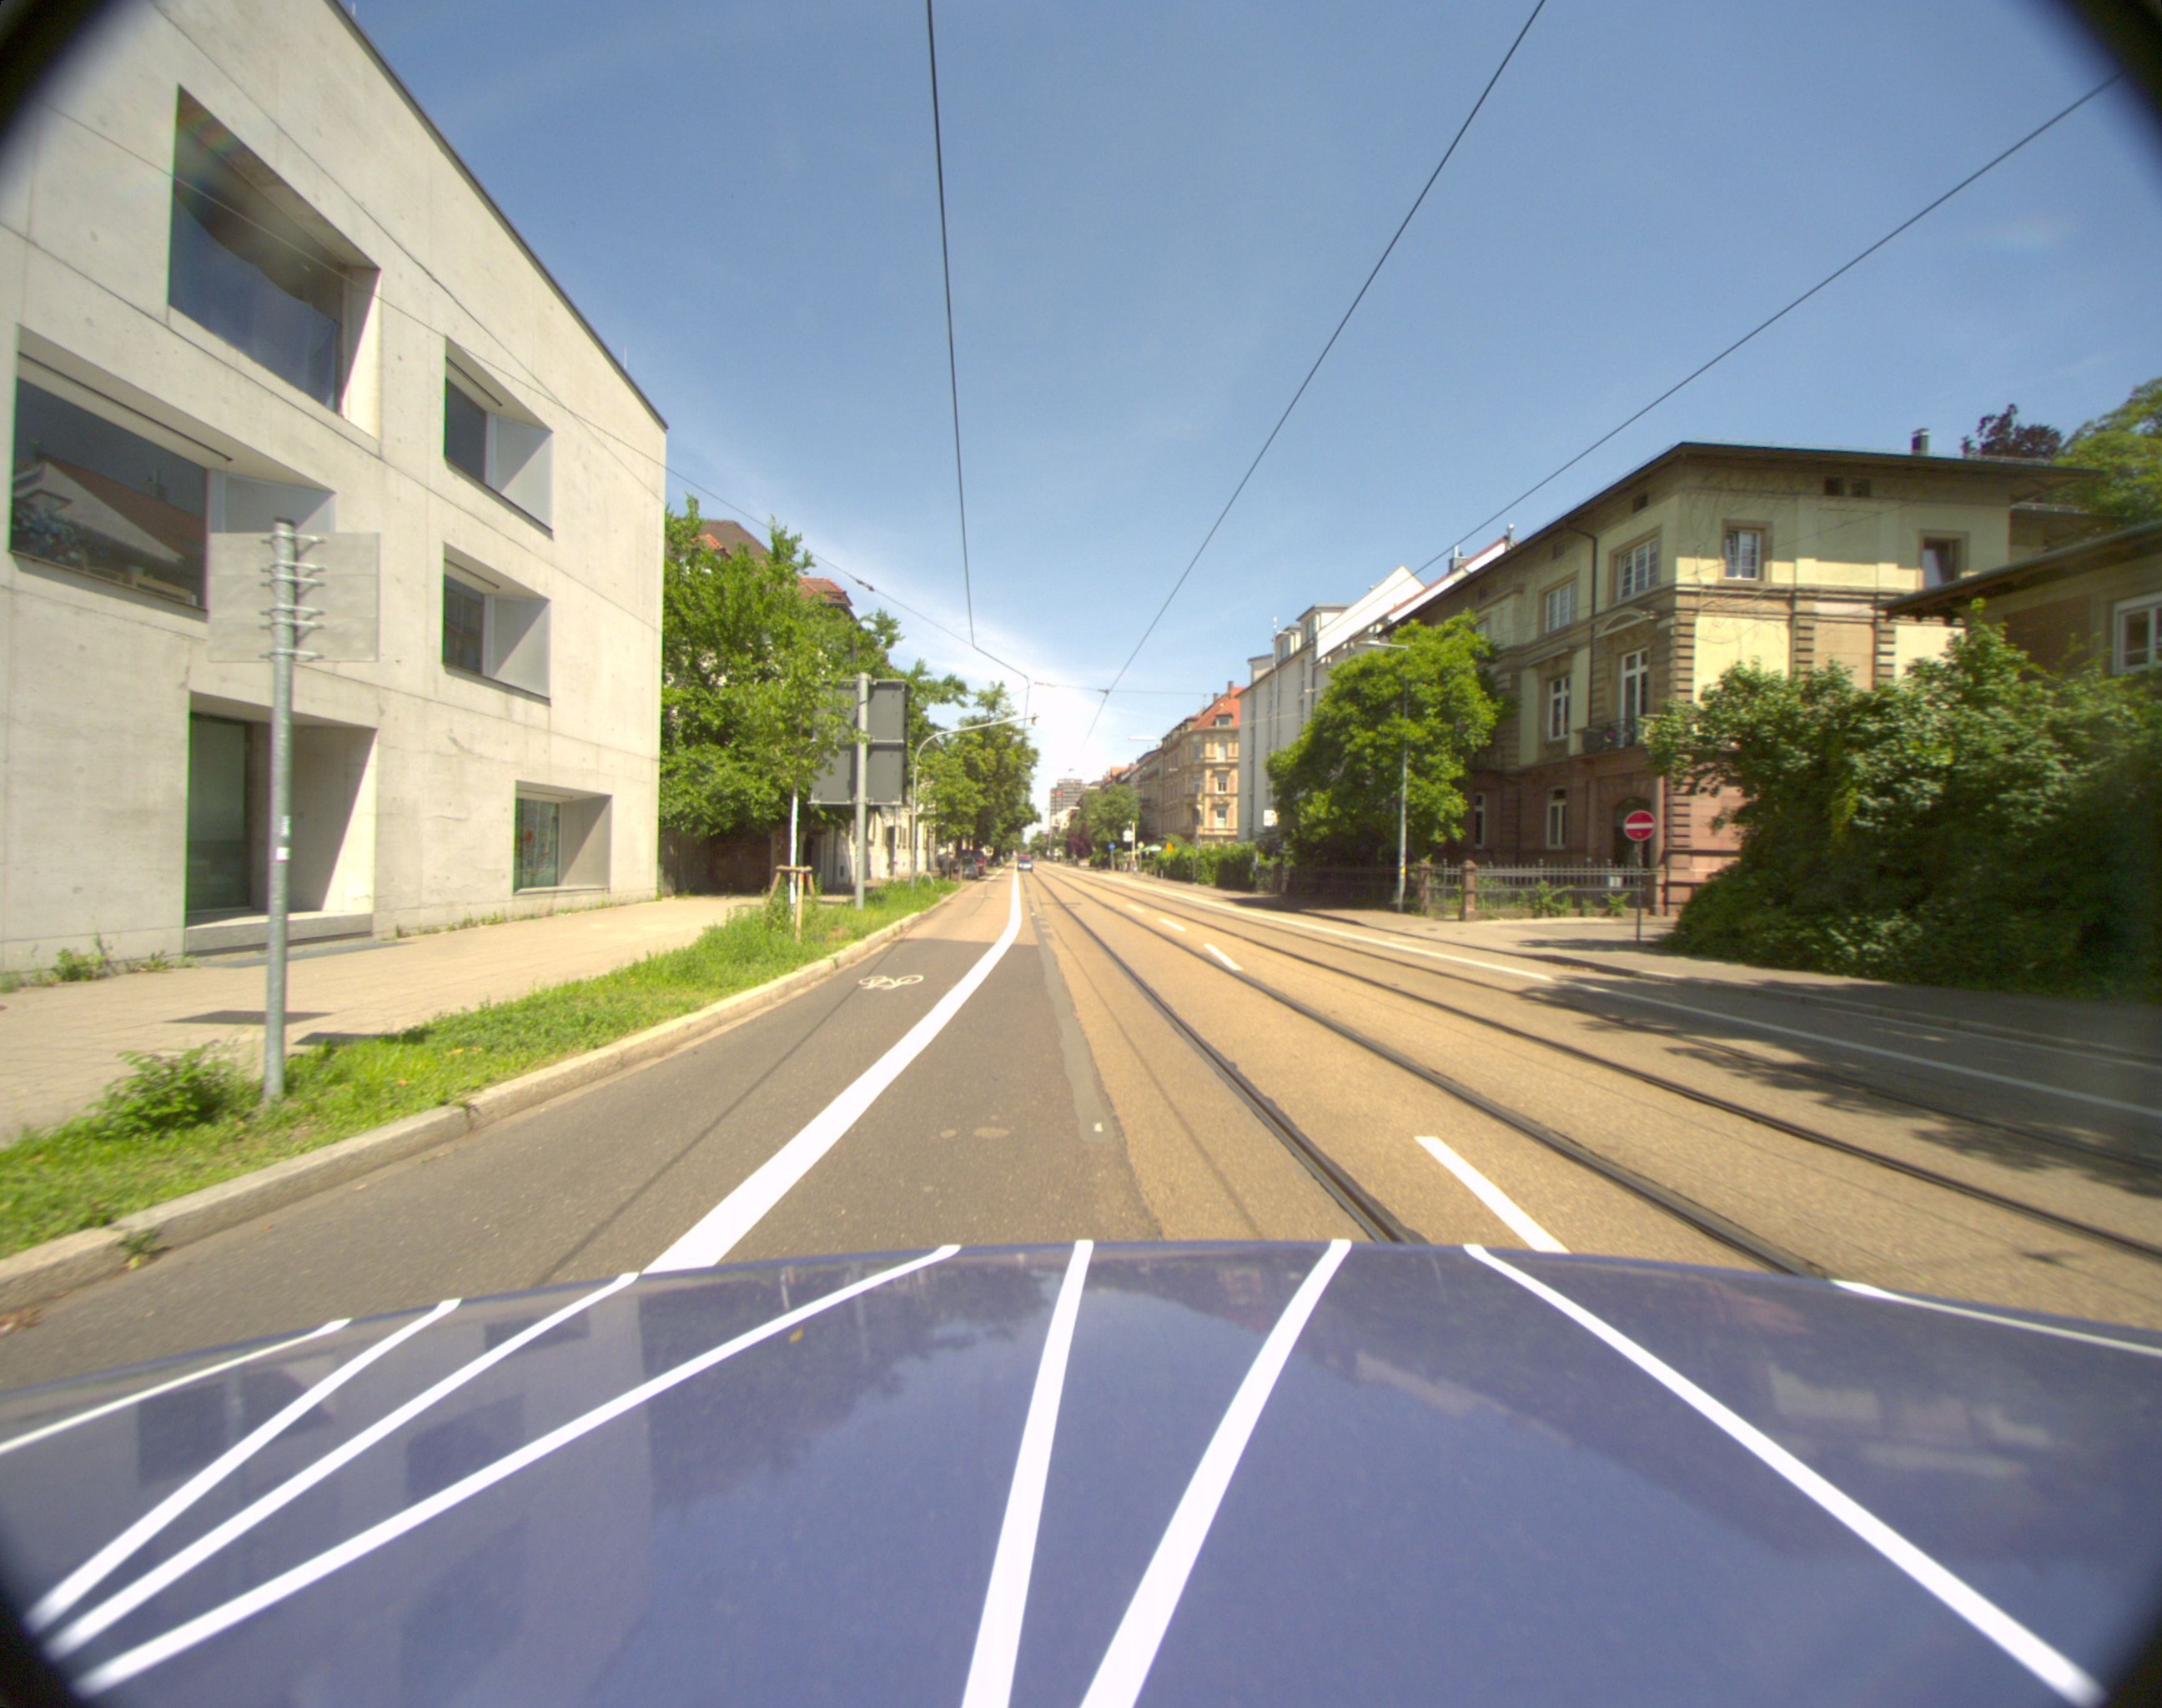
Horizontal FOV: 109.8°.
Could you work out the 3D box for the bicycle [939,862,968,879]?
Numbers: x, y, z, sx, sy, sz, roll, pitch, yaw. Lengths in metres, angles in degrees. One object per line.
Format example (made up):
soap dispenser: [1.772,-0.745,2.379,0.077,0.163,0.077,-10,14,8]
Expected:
bicycle: [-7.618,0.987,45.463,1.662,1.010,0.371,1,1,-4]

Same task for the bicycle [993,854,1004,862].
bicycle: [-13.082,0.596,120.763,1.623,1.193,0.305,0,2,-3]

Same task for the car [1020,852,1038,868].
car: [-5.719,0.644,82.842,1.894,1.561,4.034,0,1,-5]

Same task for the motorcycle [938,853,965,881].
motorcycle: [-7.187,0.680,42.144,0.746,1.497,2.560,1,0,7]

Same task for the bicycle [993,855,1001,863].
bicycle: [-11.798,0.728,106.681,1.170,1.057,0.279,1,2,-2]

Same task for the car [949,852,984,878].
car: [-7.361,0.662,49.166,1.865,1.568,4.875,0,1,-4]

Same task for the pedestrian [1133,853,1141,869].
pedestrian: [5.726,0.743,78.028,0.742,1.632,0.939,1,1,-2]

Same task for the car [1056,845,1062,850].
car: [-6.251,-1.916,216.241,1.494,1.372,3.628,0,1,-5]

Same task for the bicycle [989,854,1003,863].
bicycle: [-12.477,0.648,111.312,2.038,1.193,0.445,1,1,5]

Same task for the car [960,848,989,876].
car: [-8.043,0.577,57.701,1.865,2.002,4.972,0,1,-4]

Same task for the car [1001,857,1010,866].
car: [-13.318,1.293,134.591,1.540,1.535,3.997,0,1,-5]

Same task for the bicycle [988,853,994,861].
bicycle: [-12.603,0.406,106.210,0.284,1.193,1.624,0,2,-24]

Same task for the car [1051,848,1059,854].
car: [-8.023,-0.849,233.606,1.999,1.716,3.870,1,-1,-5]

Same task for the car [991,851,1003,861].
car: [-12.777,0.283,115.929,1.597,1.444,3.630,2,0,-4]

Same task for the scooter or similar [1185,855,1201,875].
scooter or similar: [8.128,0.772,55.228,1.012,1.443,0.597,0,2,-5]
